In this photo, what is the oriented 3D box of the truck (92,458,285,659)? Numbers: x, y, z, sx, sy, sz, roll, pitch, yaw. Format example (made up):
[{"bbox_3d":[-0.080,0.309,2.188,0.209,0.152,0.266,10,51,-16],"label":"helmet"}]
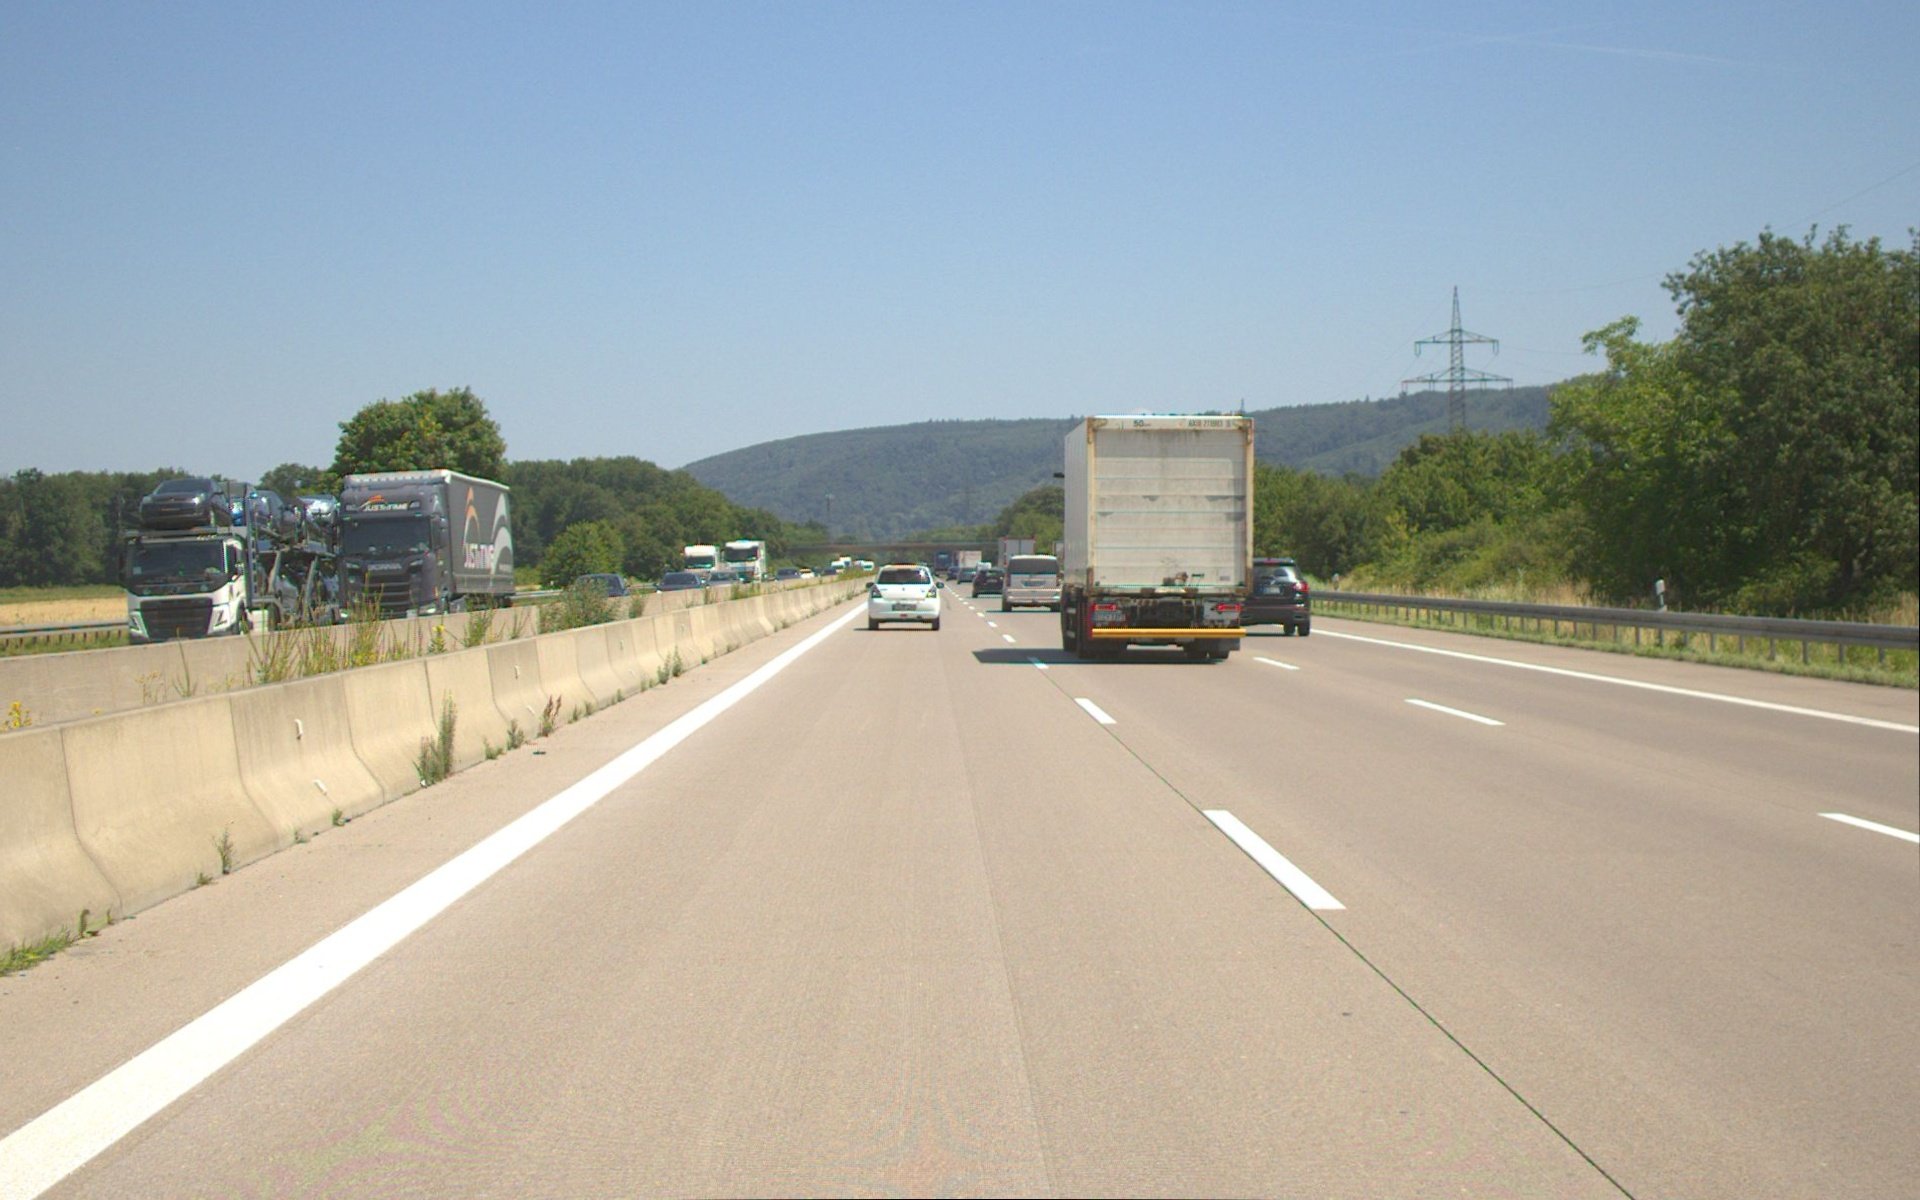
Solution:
[{"bbox_3d":[-18.429,-0.998,82.516,3.231,4.591,6.251,1,0,-1],"label":"truck"}]

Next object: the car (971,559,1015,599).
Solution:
[{"bbox_3d":[1.589,-1.040,168.191,1.993,1.842,4.000,3,0,0],"label":"car"}]

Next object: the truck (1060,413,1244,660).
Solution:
[{"bbox_3d":[3.106,-1.023,56.752,2.580,3.864,4.984,1,0,-1],"label":"truck"}]

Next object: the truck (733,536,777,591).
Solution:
[{"bbox_3d":[-14.880,-2.658,249.687,2.900,3.956,5.046,1,0,-1],"label":"truck"}]

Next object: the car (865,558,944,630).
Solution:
[{"bbox_3d":[-1.340,-0.152,81.459,1.819,1.656,4.000,0,1,-2],"label":"car"}]

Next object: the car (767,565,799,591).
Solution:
[{"bbox_3d":[-11.800,-1.485,229.221,1.863,1.723,4.140,1,1,0],"label":"car"}]

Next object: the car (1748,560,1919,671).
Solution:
[{"bbox_3d":[15.698,0.244,61.814,1.993,1.842,4.000,3,0,-1],"label":"car"}]

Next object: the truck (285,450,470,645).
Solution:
[{"bbox_3d":[-14.116,-1.265,83.849,3.267,4.460,7.190,-1,1,-1],"label":"truck"}]

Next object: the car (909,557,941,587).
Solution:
[{"bbox_3d":[-2.295,-1.850,226.352,1.993,1.842,4.000,3,0,-1],"label":"car"}]

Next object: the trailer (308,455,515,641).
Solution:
[{"bbox_3d":[-14.320,-1.340,91.171,3.267,4.460,14.452,-1,1,-1],"label":"trailer"}]

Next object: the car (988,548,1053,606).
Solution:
[{"bbox_3d":[1.995,-0.768,114.568,1.993,1.842,4.000,1,1,-1],"label":"car"}]

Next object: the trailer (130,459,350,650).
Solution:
[{"bbox_3d":[-18.516,-1.163,89.355,3.231,4.591,12.294,1,1,-1],"label":"trailer"}]

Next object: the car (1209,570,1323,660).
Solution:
[{"bbox_3d":[6.732,0.298,76.001,1.993,1.842,4.000,3,0,-1],"label":"car"}]

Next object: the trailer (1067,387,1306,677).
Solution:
[{"bbox_3d":[3.216,-0.970,51.490,2.580,3.864,10.374,1,1,-1],"label":"trailer"}]
